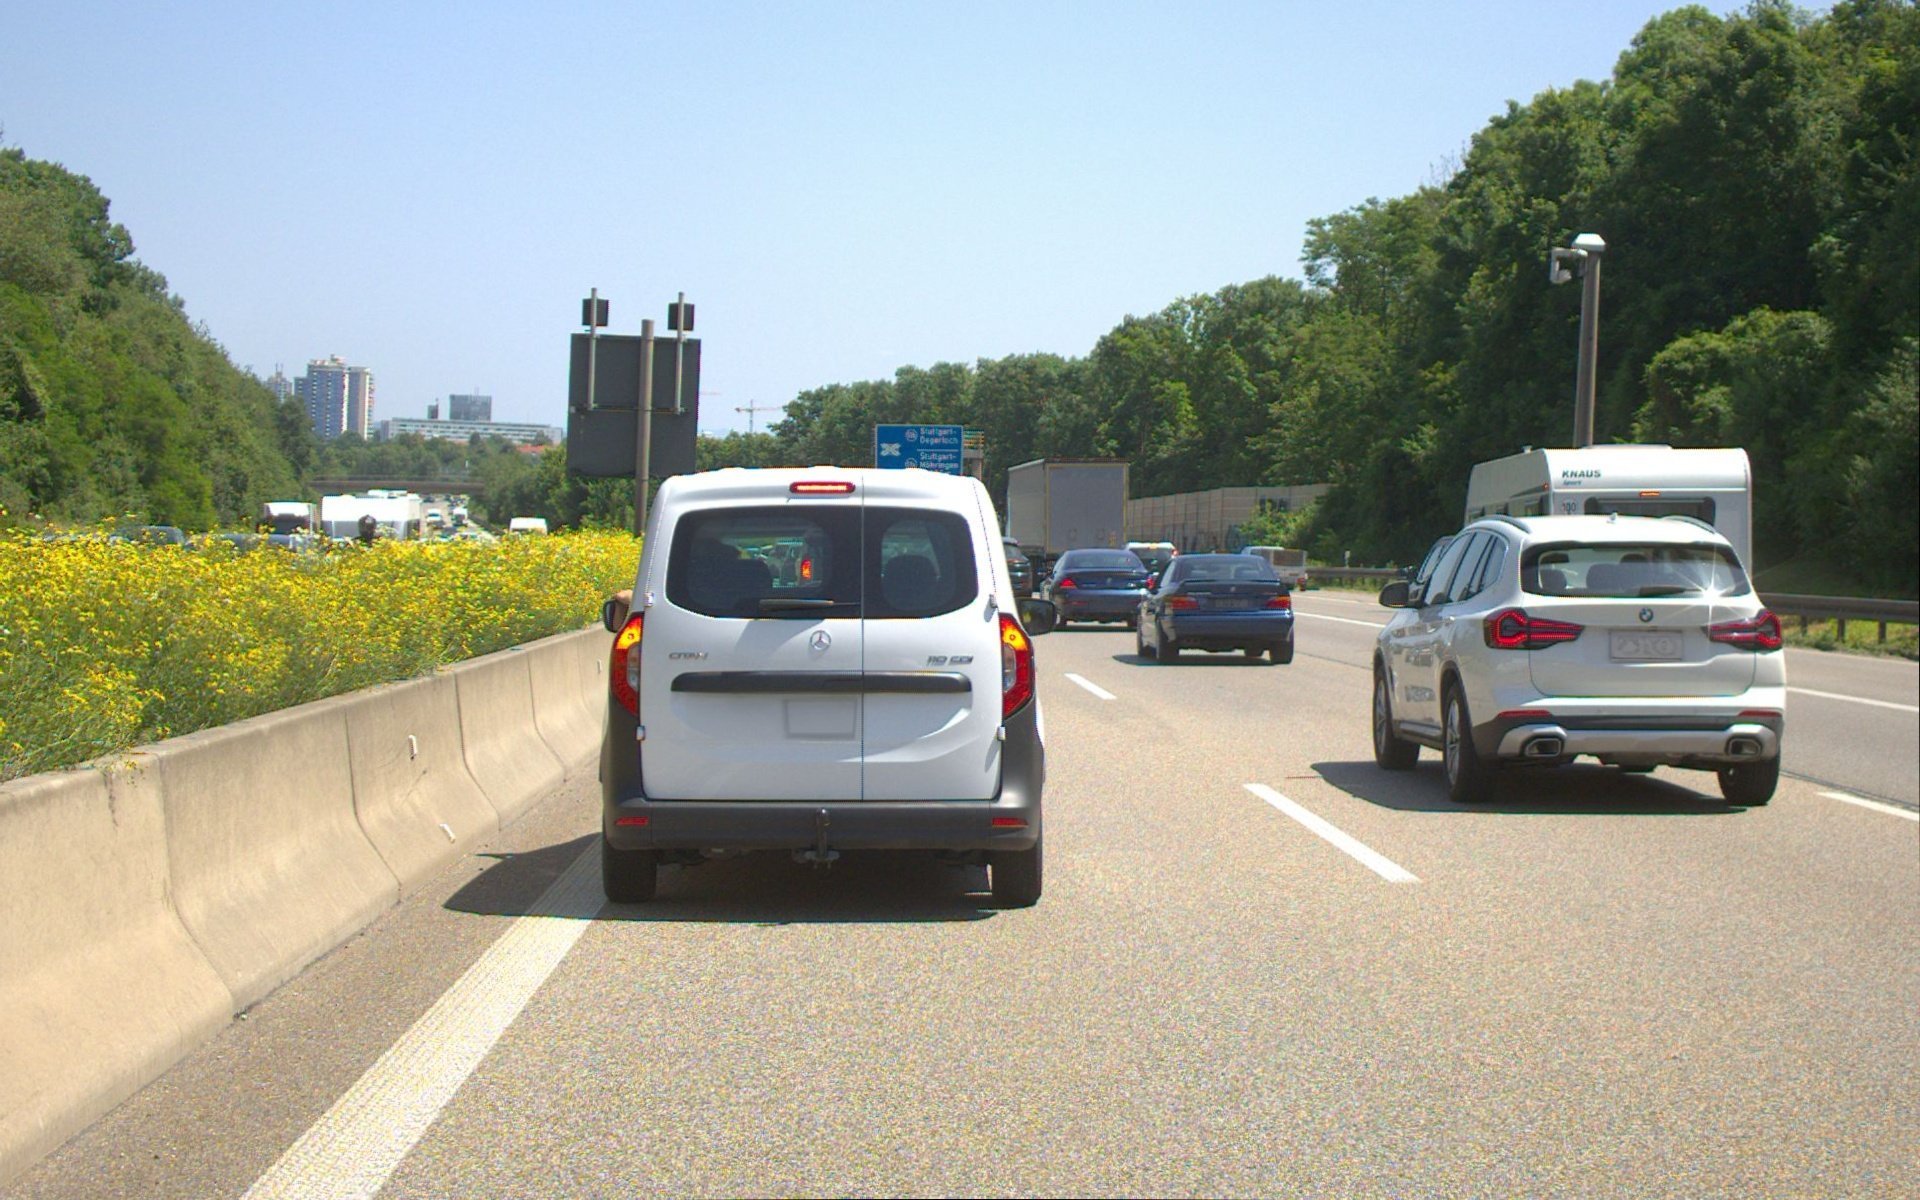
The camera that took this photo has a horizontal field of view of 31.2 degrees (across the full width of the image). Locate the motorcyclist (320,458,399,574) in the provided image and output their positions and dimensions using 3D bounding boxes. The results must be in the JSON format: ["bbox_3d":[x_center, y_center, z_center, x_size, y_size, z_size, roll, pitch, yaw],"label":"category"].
[{"bbox_3d":[-9.383,-1.310,53.783,1.031,1.779,1.284,0,1,-1],"label":"motorcyclist"}]

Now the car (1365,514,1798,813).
[{"bbox_3d":[3.672,0.306,20.987,1.871,1.602,3.879,1,2,-1],"label":"car"}]

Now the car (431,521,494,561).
[{"bbox_3d":[-19.723,-2.350,136.434,1.993,1.569,4.000,1,1,-1],"label":"car"}]

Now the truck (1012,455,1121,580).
[{"bbox_3d":[3.471,-2.727,114.986,3.081,3.972,9.647,1,1,-1],"label":"truck"}]

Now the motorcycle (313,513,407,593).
[{"bbox_3d":[-9.389,-0.751,53.915,1.040,1.211,2.614,1,1,-1],"label":"motorcycle"}]

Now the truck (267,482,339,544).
[{"bbox_3d":[-32.535,-4.308,170.417,2.406,2.995,7.460,1,1,-3],"label":"truck"}]

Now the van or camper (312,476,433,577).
[{"bbox_3d":[-15.898,-1.988,93.380,2.308,2.627,7.400,1,1,-2],"label":"van or camper"}]

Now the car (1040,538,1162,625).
[{"bbox_3d":[2.380,-0.337,58.931,1.824,1.419,4.000,1,1,-1],"label":"car"}]

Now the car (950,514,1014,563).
[{"bbox_3d":[0.647,-1.886,104.610,1.824,1.442,4.000,1,1,-1],"label":"car"}]

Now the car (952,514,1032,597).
[{"bbox_3d":[0.771,-1.106,84.687,1.824,1.982,4.000,1,1,-1],"label":"car"}]

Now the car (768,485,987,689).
[{"bbox_3d":[-0.808,-0.158,33.644,1.993,1.853,4.000,1,1,-1],"label":"car"}]

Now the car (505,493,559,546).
[{"bbox_3d":[-21.123,-3.974,169.835,1.993,2.533,5.909,1,1,-1],"label":"car"}]

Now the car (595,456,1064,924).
[{"bbox_3d":[-0.575,0.308,15.358,1.802,1.802,4.001,1,1,-2],"label":"car"}]

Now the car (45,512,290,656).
[{"bbox_3d":[-8.728,-0.207,38.161,1.839,1.491,4.000,1,1,-1],"label":"car"}]

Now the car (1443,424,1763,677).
[{"bbox_3d":[7.504,-0.602,40.892,2.478,2.756,6.220,1,1,-1],"label":"car"}]

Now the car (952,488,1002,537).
[{"bbox_3d":[0.692,-3.687,145.010,1.993,2.007,4.000,0,1,-1],"label":"car"}]

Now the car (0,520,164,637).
[{"bbox_3d":[-12.286,-0.331,47.004,1.839,1.516,4.358,1,1,-1],"label":"car"}]

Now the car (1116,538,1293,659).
[{"bbox_3d":[3.019,-0.051,43.197,1.824,1.419,4.000,1,1,-1],"label":"car"}]

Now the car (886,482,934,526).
[{"bbox_3d":[-2.370,-4.512,161.730,1.993,2.007,4.001,0,1,-5],"label":"car"}]

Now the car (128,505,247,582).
[{"bbox_3d":[-17.492,-1.288,78.022,1.755,1.690,4.423,1,1,-1],"label":"car"}]

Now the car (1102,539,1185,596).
[{"bbox_3d":[4.725,-0.855,89.133,1.824,1.419,4.000,1,1,-1],"label":"car"}]

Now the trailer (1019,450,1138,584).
[{"bbox_3d":[3.637,-2.569,107.988,3.081,3.972,10.324,1,1,-1],"label":"trailer"}]

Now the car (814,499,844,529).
[{"bbox_3d":[-8.948,-5.877,235.278,1.993,2.007,4.000,1,1,-1],"label":"car"}]

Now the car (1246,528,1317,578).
[{"bbox_3d":[10.147,-1.494,108.693,1.788,1.514,4.000,1,1,-1],"label":"car"}]
